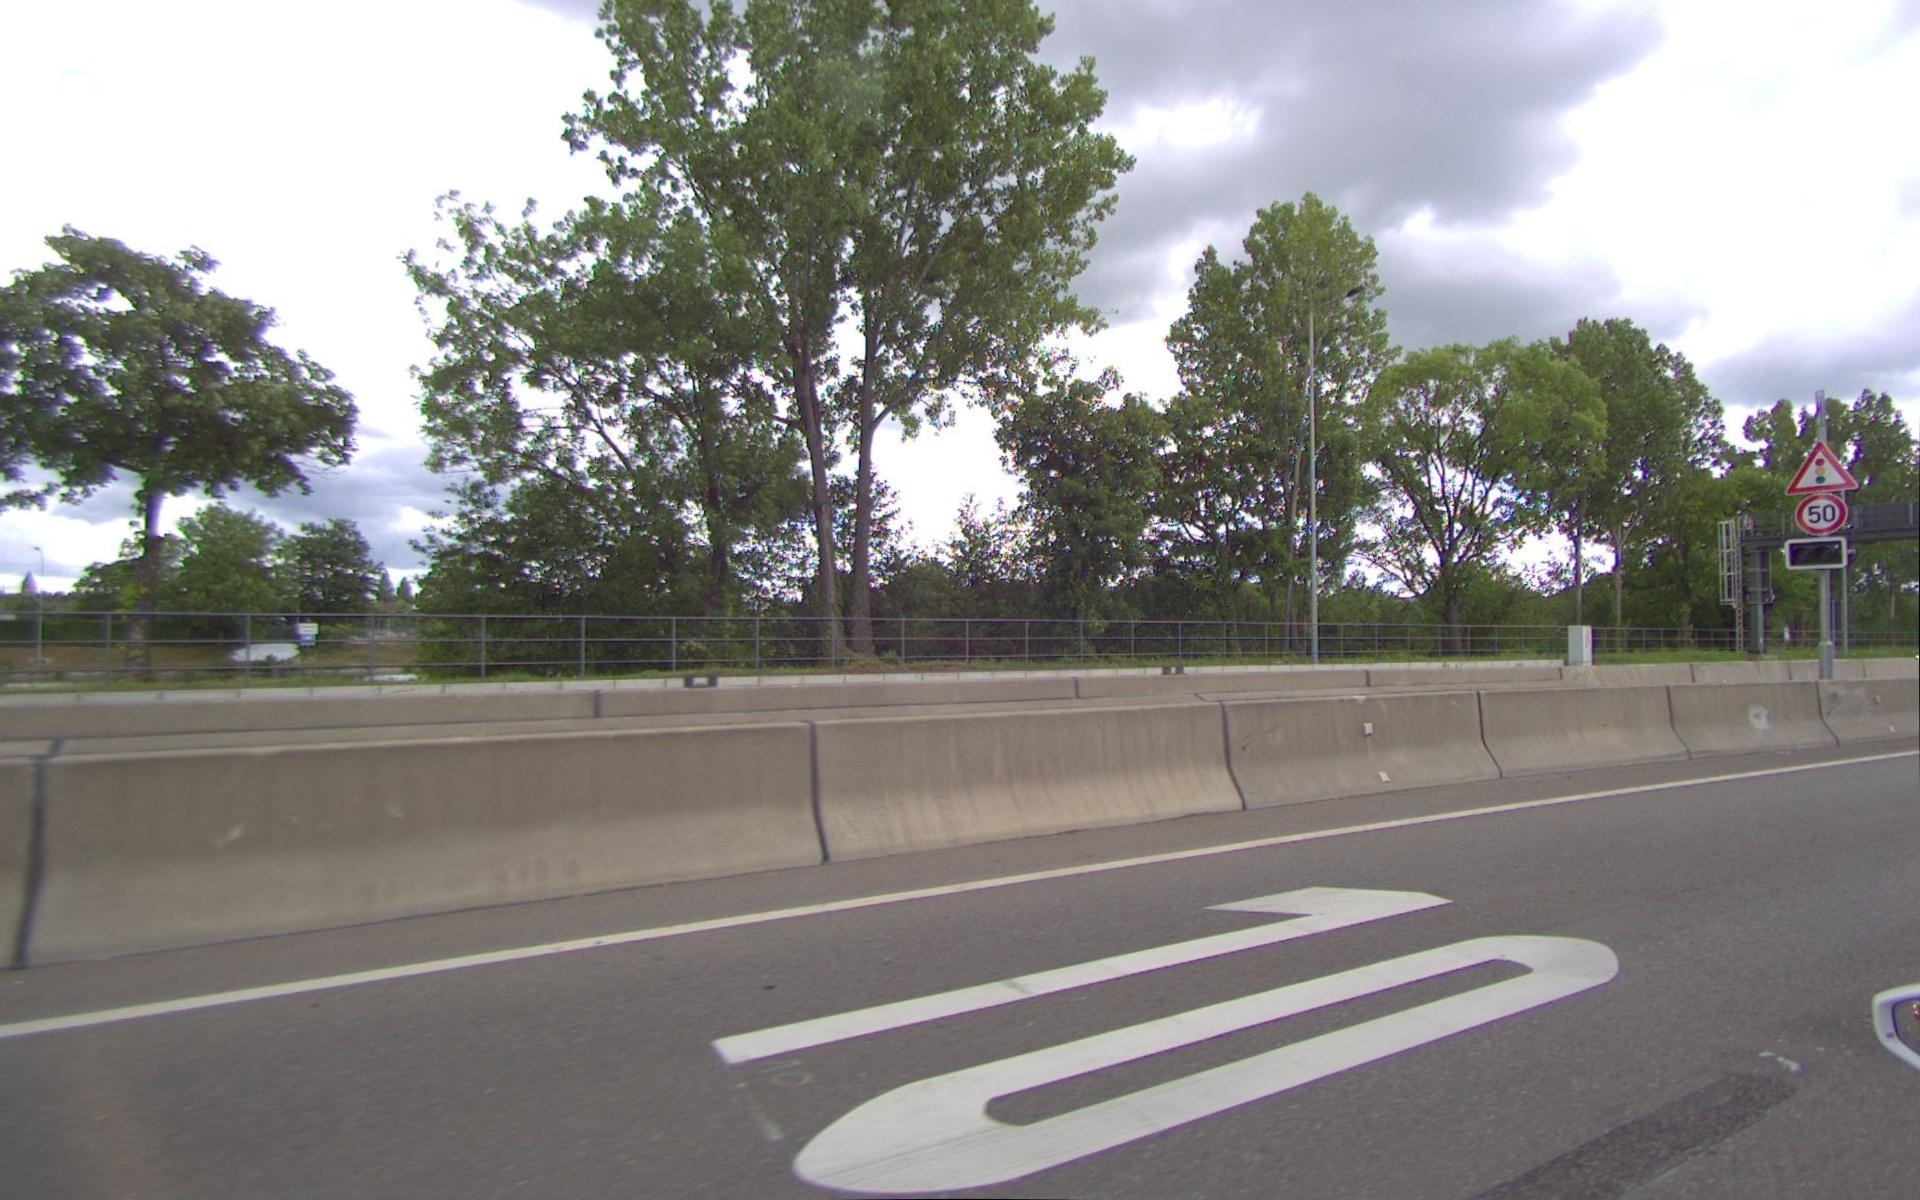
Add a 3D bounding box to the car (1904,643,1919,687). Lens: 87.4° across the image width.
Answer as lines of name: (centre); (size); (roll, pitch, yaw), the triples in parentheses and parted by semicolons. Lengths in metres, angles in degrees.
car: (46.686, 3.099, 47.466); (3.954, 2.040, 1.984); (1, 0, -31)
